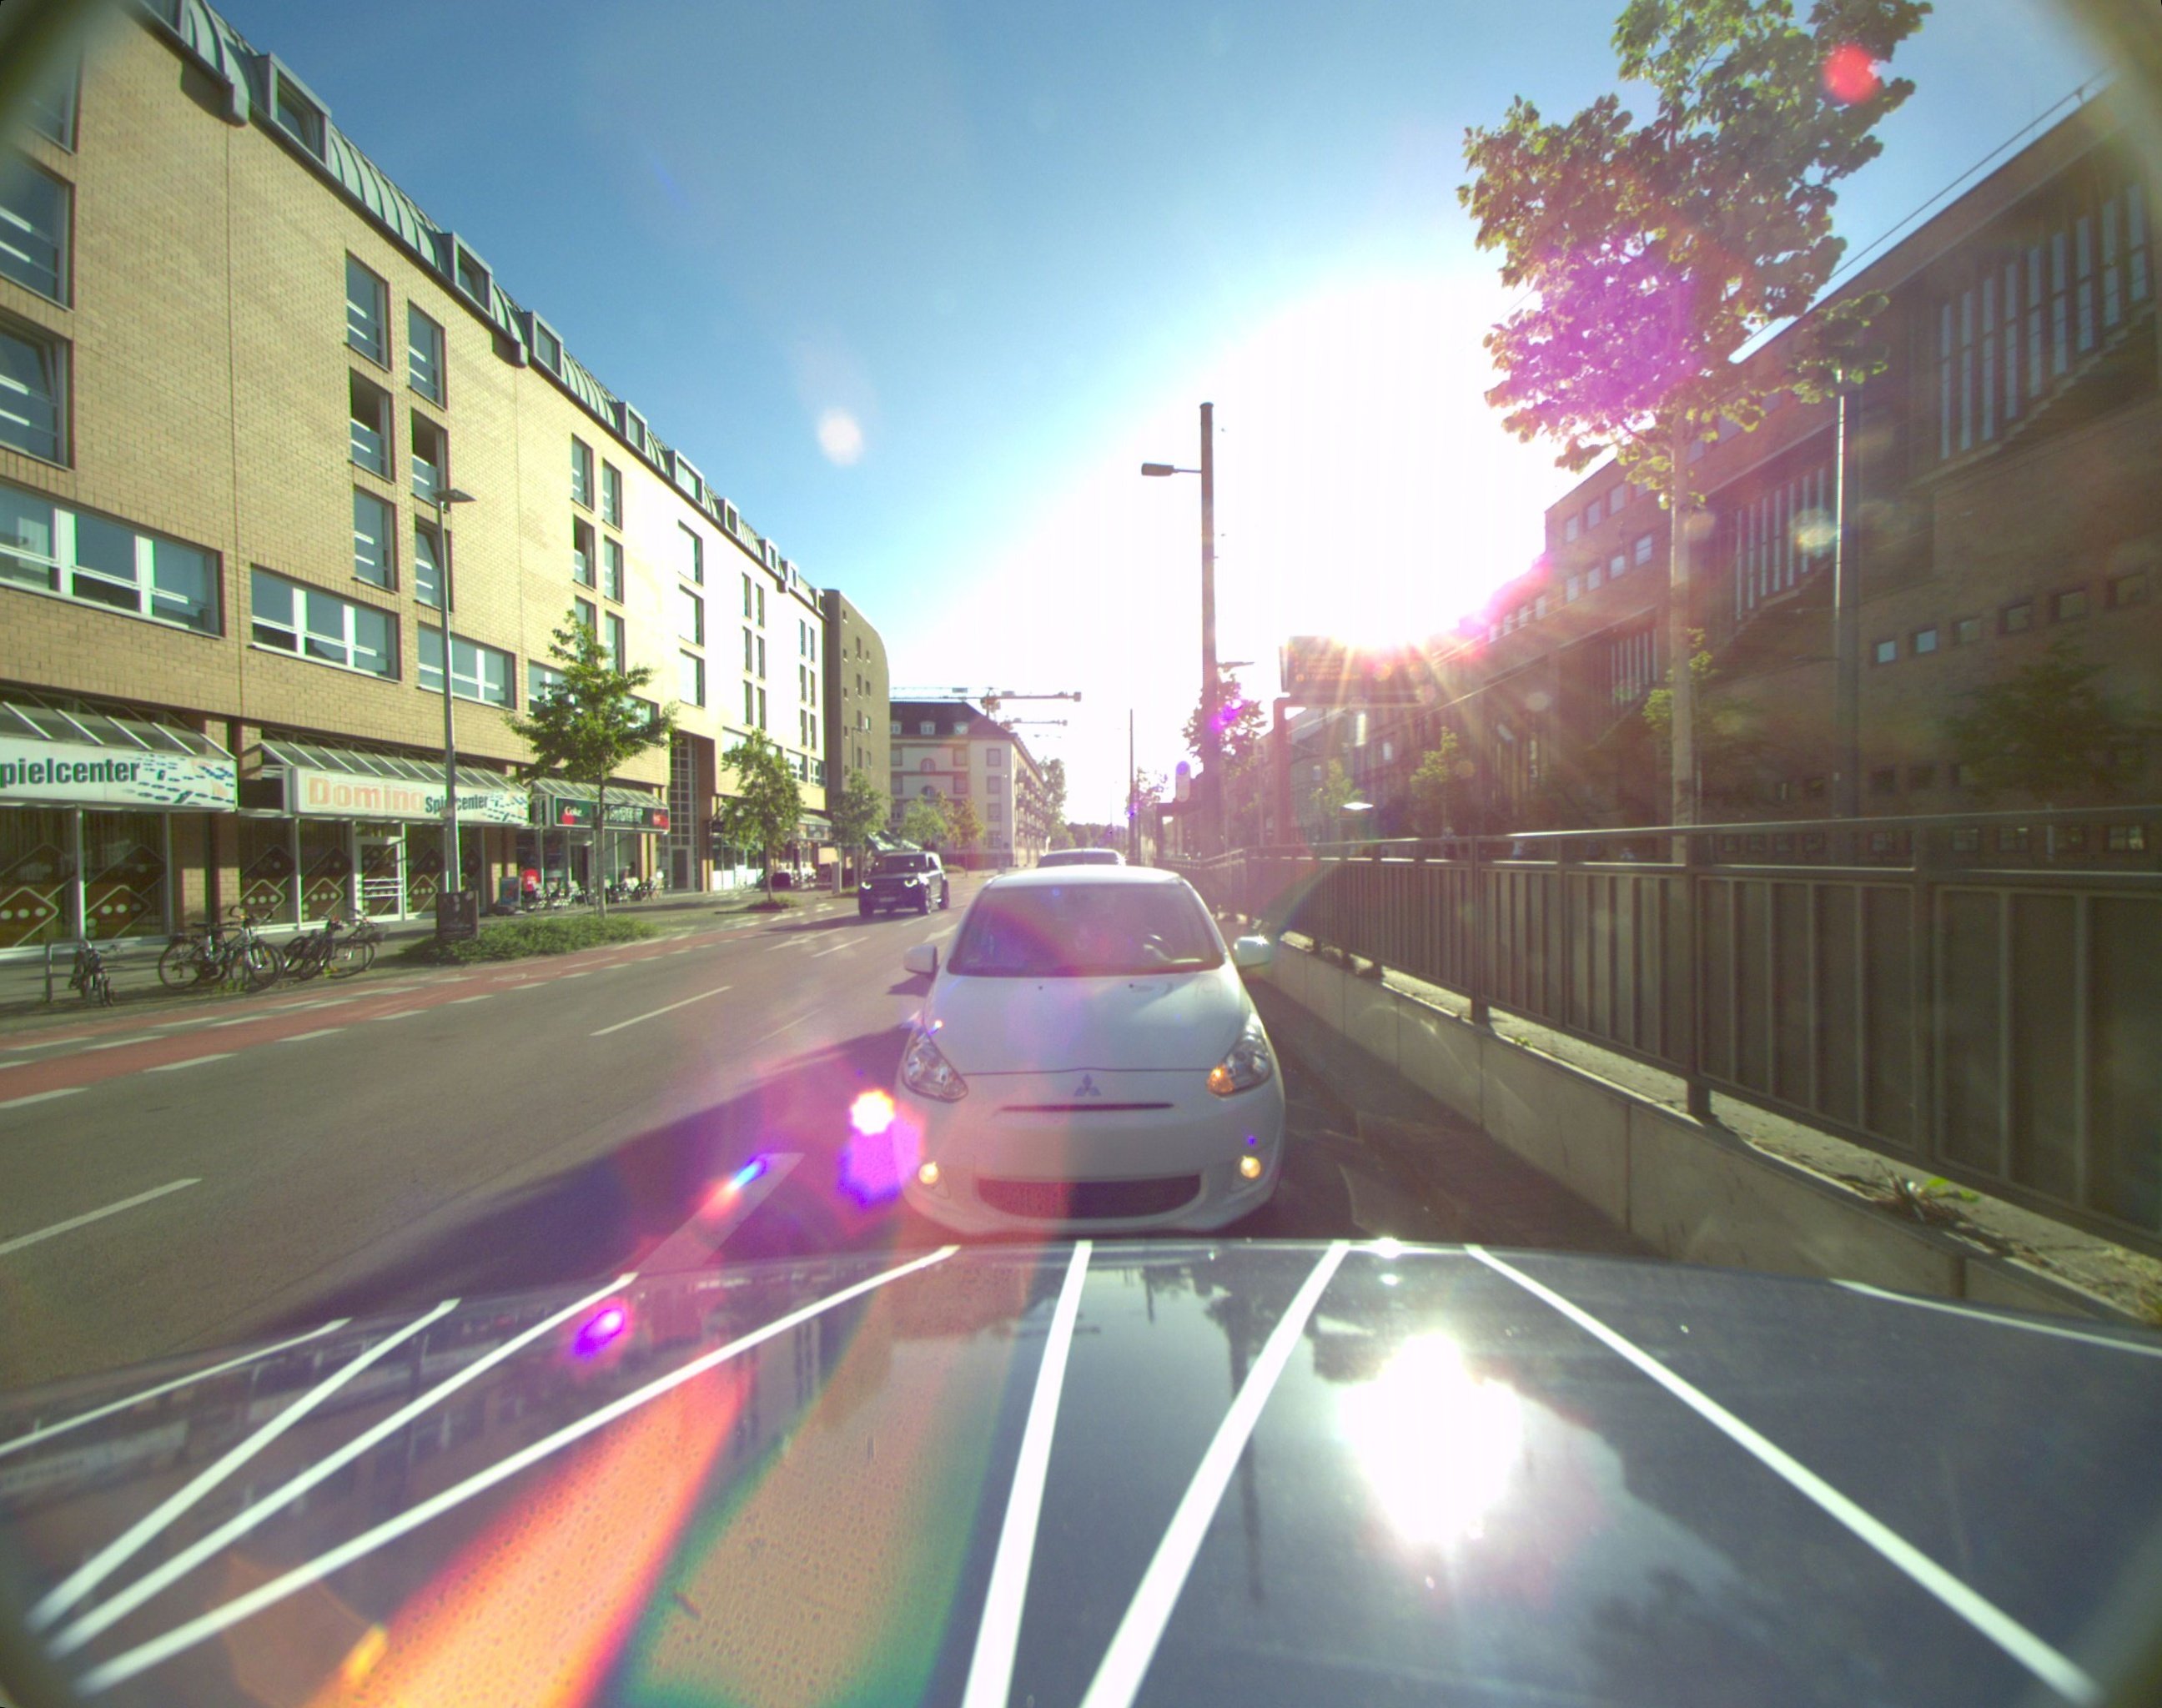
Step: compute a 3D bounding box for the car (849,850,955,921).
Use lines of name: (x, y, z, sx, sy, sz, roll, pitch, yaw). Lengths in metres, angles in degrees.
car: (-5.442, 0.921, 23.747, 2.164, 1.903, 4.473, -2, -1, 0)

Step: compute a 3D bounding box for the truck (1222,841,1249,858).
truck: (17.745, -0.463, 87.456, 1.999, 1.868, 5.155, 1, 0, 0)

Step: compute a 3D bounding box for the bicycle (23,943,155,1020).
bicycle: (-12.780, 1.623, 9.784, 1.772, 0.827, 0.366, 1, 2, 15)

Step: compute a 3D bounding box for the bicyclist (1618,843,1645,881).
bicyclist: (22.621, 0.309, 31.231, 0.588, 1.525, 0.650, -2, 2, 1)

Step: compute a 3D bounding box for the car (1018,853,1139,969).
car: (-0.044, 0.840, 13.372, 1.720, 1.591, 4.215, -2, 1, 0)

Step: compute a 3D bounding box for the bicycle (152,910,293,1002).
bicycle: (-12.354, 1.437, 10.939, 1.835, 1.156, 0.565, 1, 2, 15)

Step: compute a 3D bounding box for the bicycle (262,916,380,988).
bicycle: (-12.014, 1.522, 12.010, 1.835, 0.980, 0.449, 1, 2, 15)

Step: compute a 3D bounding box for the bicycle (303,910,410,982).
bicycle: (-11.908, 1.490, 12.485, 1.835, 1.050, 0.350, 1, 2, 15)

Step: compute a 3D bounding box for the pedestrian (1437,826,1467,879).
pedestrian: (12.838, -0.055, 26.298, 0.685, 1.797, 0.668, -2, 2, 0)

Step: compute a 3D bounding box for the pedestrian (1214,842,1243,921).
pedestrian: (4.627, 0.840, 23.906, 0.684, 2.428, 0.626, -2, 2, -2)

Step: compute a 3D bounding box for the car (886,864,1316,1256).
car: (0.083, 0.880, 5.242, 1.720, 1.422, 4.215, -2, 1, 0)
